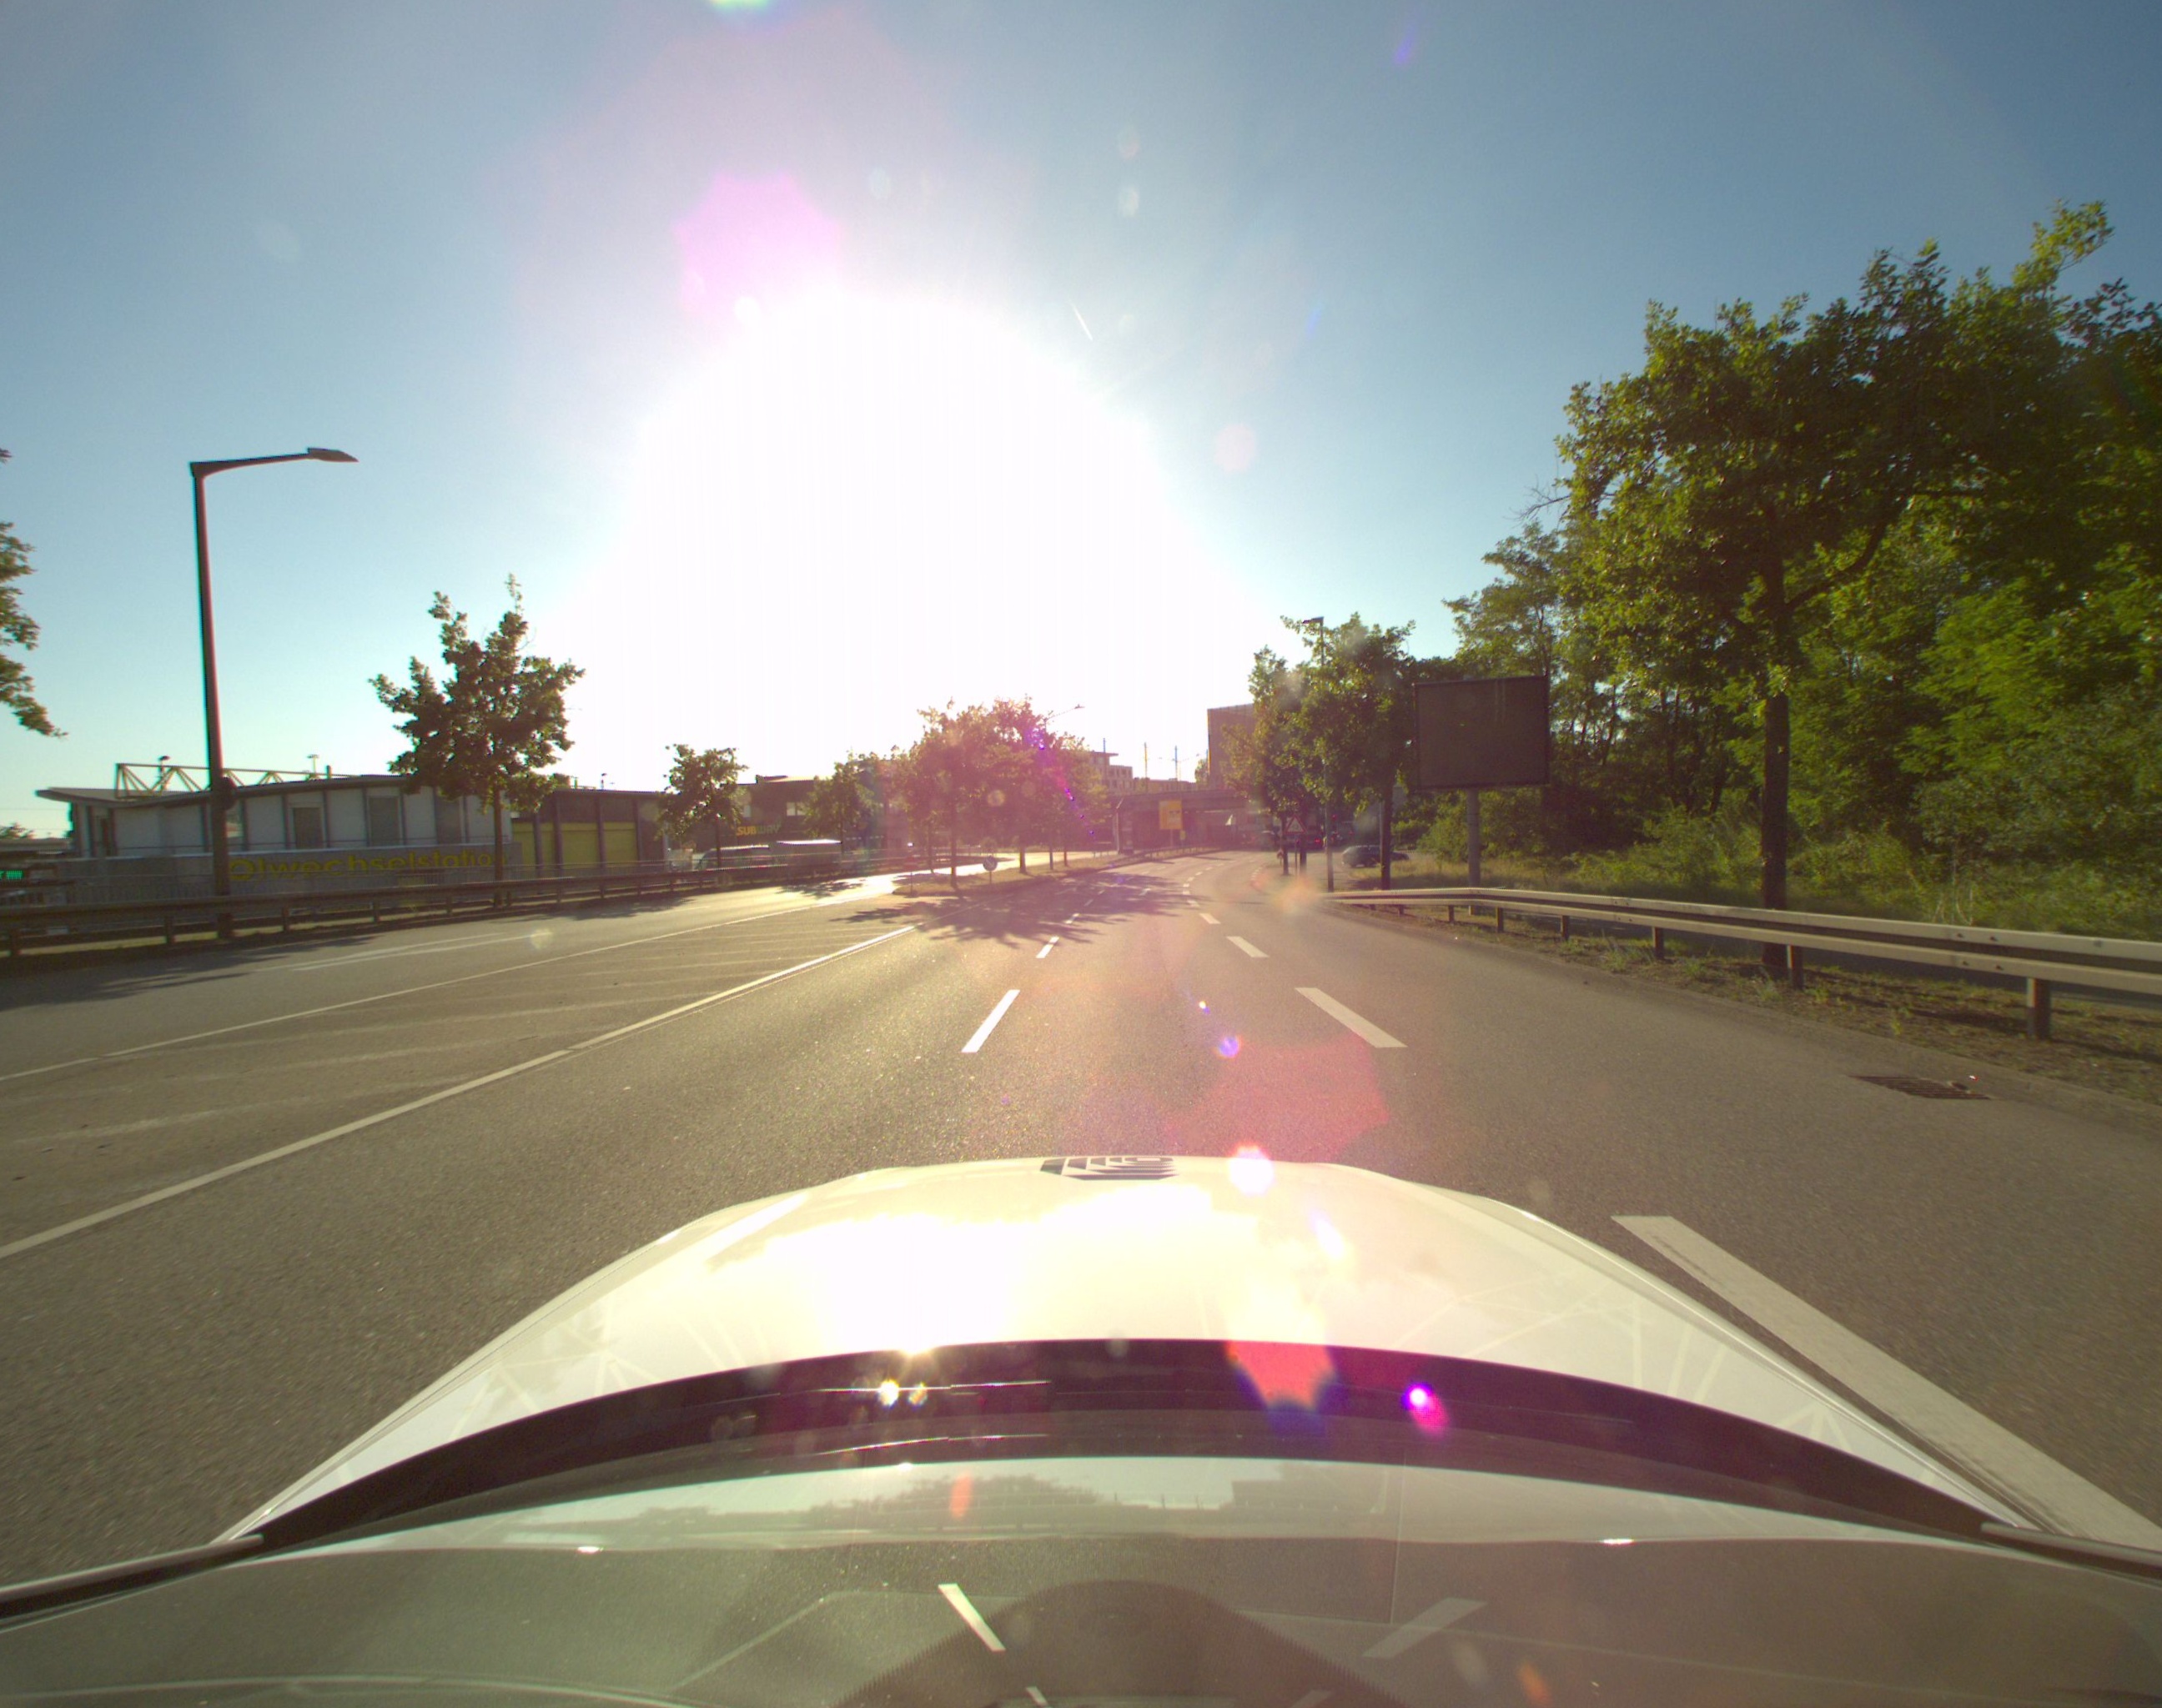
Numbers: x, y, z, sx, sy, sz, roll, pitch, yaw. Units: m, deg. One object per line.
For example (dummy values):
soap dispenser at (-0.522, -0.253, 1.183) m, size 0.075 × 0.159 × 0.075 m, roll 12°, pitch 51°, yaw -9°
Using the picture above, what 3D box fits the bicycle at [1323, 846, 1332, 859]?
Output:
bicycle at (20.051, -0.108, 66.226) m, size 0.574 × 0.963 × 2.898 m, roll -1°, pitch 1°, yaw 15°

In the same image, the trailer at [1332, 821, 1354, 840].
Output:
trailer at (36.236, -3.286, 112.714) m, size 1.846 × 2.464 × 3.857 m, roll -2°, pitch 1°, yaw 34°

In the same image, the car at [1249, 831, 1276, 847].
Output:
car at (21.231, -1.807, 95.223) m, size 1.812 × 1.738 × 4.490 m, roll -1°, pitch 1°, yaw 30°

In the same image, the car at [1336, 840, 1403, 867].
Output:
car at (19.470, -0.050, 54.962) m, size 4.007 × 1.508 × 1.983 m, roll -4°, pitch 0°, yaw -25°

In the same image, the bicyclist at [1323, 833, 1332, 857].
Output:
bicyclist at (20.035, -0.731, 66.165) m, size 0.677 × 1.906 × 0.837 m, roll -1°, pitch 1°, yaw 16°

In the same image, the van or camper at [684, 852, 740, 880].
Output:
van or camper at (-26.002, 0.856, 57.360) m, size 4.175 × 1.926 × 2.012 m, roll -2°, pitch 0°, yaw 41°

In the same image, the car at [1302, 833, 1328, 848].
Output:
car at (25.944, -1.502, 90.248) m, size 1.724 × 1.454 × 4.636 m, roll 0°, pitch 3°, yaw 30°

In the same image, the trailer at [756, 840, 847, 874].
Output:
trailer at (-17.174, 0.123, 50.516) m, size 2.404 × 1.969 × 6.625 m, roll -1°, pitch 1°, yaw 10°

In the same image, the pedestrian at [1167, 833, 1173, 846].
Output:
pedestrian at (13.354, -2.143, 121.979) m, size 0.687 × 1.903 × 0.669 m, roll 0°, pitch 1°, yaw 34°

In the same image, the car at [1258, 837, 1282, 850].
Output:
car at (20.575, -1.147, 88.424) m, size 1.567 × 1.408 × 3.856 m, roll 0°, pitch 2°, yaw 28°

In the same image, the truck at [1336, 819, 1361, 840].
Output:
truck at (34.016, -3.121, 103.469) m, size 2.091 × 2.519 × 4.429 m, roll -1°, pitch 0°, yaw 31°

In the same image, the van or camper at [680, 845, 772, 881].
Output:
van or camper at (-18.343, 0.420, 42.421) m, size 1.982 × 1.685 × 4.973 m, roll -1°, pitch 1°, yaw 9°

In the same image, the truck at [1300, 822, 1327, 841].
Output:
truck at (32.110, -3.086, 112.394) m, size 2.008 × 2.556 × 5.573 m, roll 0°, pitch 2°, yaw 33°

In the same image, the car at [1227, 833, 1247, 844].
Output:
car at (22.360, -2.230, 116.855) m, size 1.724 × 1.462 × 3.789 m, roll 0°, pitch 0°, yaw 29°

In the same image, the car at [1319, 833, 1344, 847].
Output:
car at (29.702, -1.674, 96.489) m, size 1.755 × 1.495 × 3.857 m, roll -2°, pitch 1°, yaw 32°

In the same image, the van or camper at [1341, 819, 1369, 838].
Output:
van or camper at (39.508, -3.693, 117.252) m, size 1.974 × 2.570 × 5.956 m, roll 0°, pitch 2°, yaw 37°

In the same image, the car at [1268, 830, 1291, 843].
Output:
car at (24.635, -2.157, 101.064) m, size 1.823 × 1.440 × 3.698 m, roll -4°, pitch 0°, yaw 29°

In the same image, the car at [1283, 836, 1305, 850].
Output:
car at (24.875, -1.241, 95.027) m, size 1.532 × 1.423 × 3.439 m, roll -4°, pitch 0°, yaw 29°
